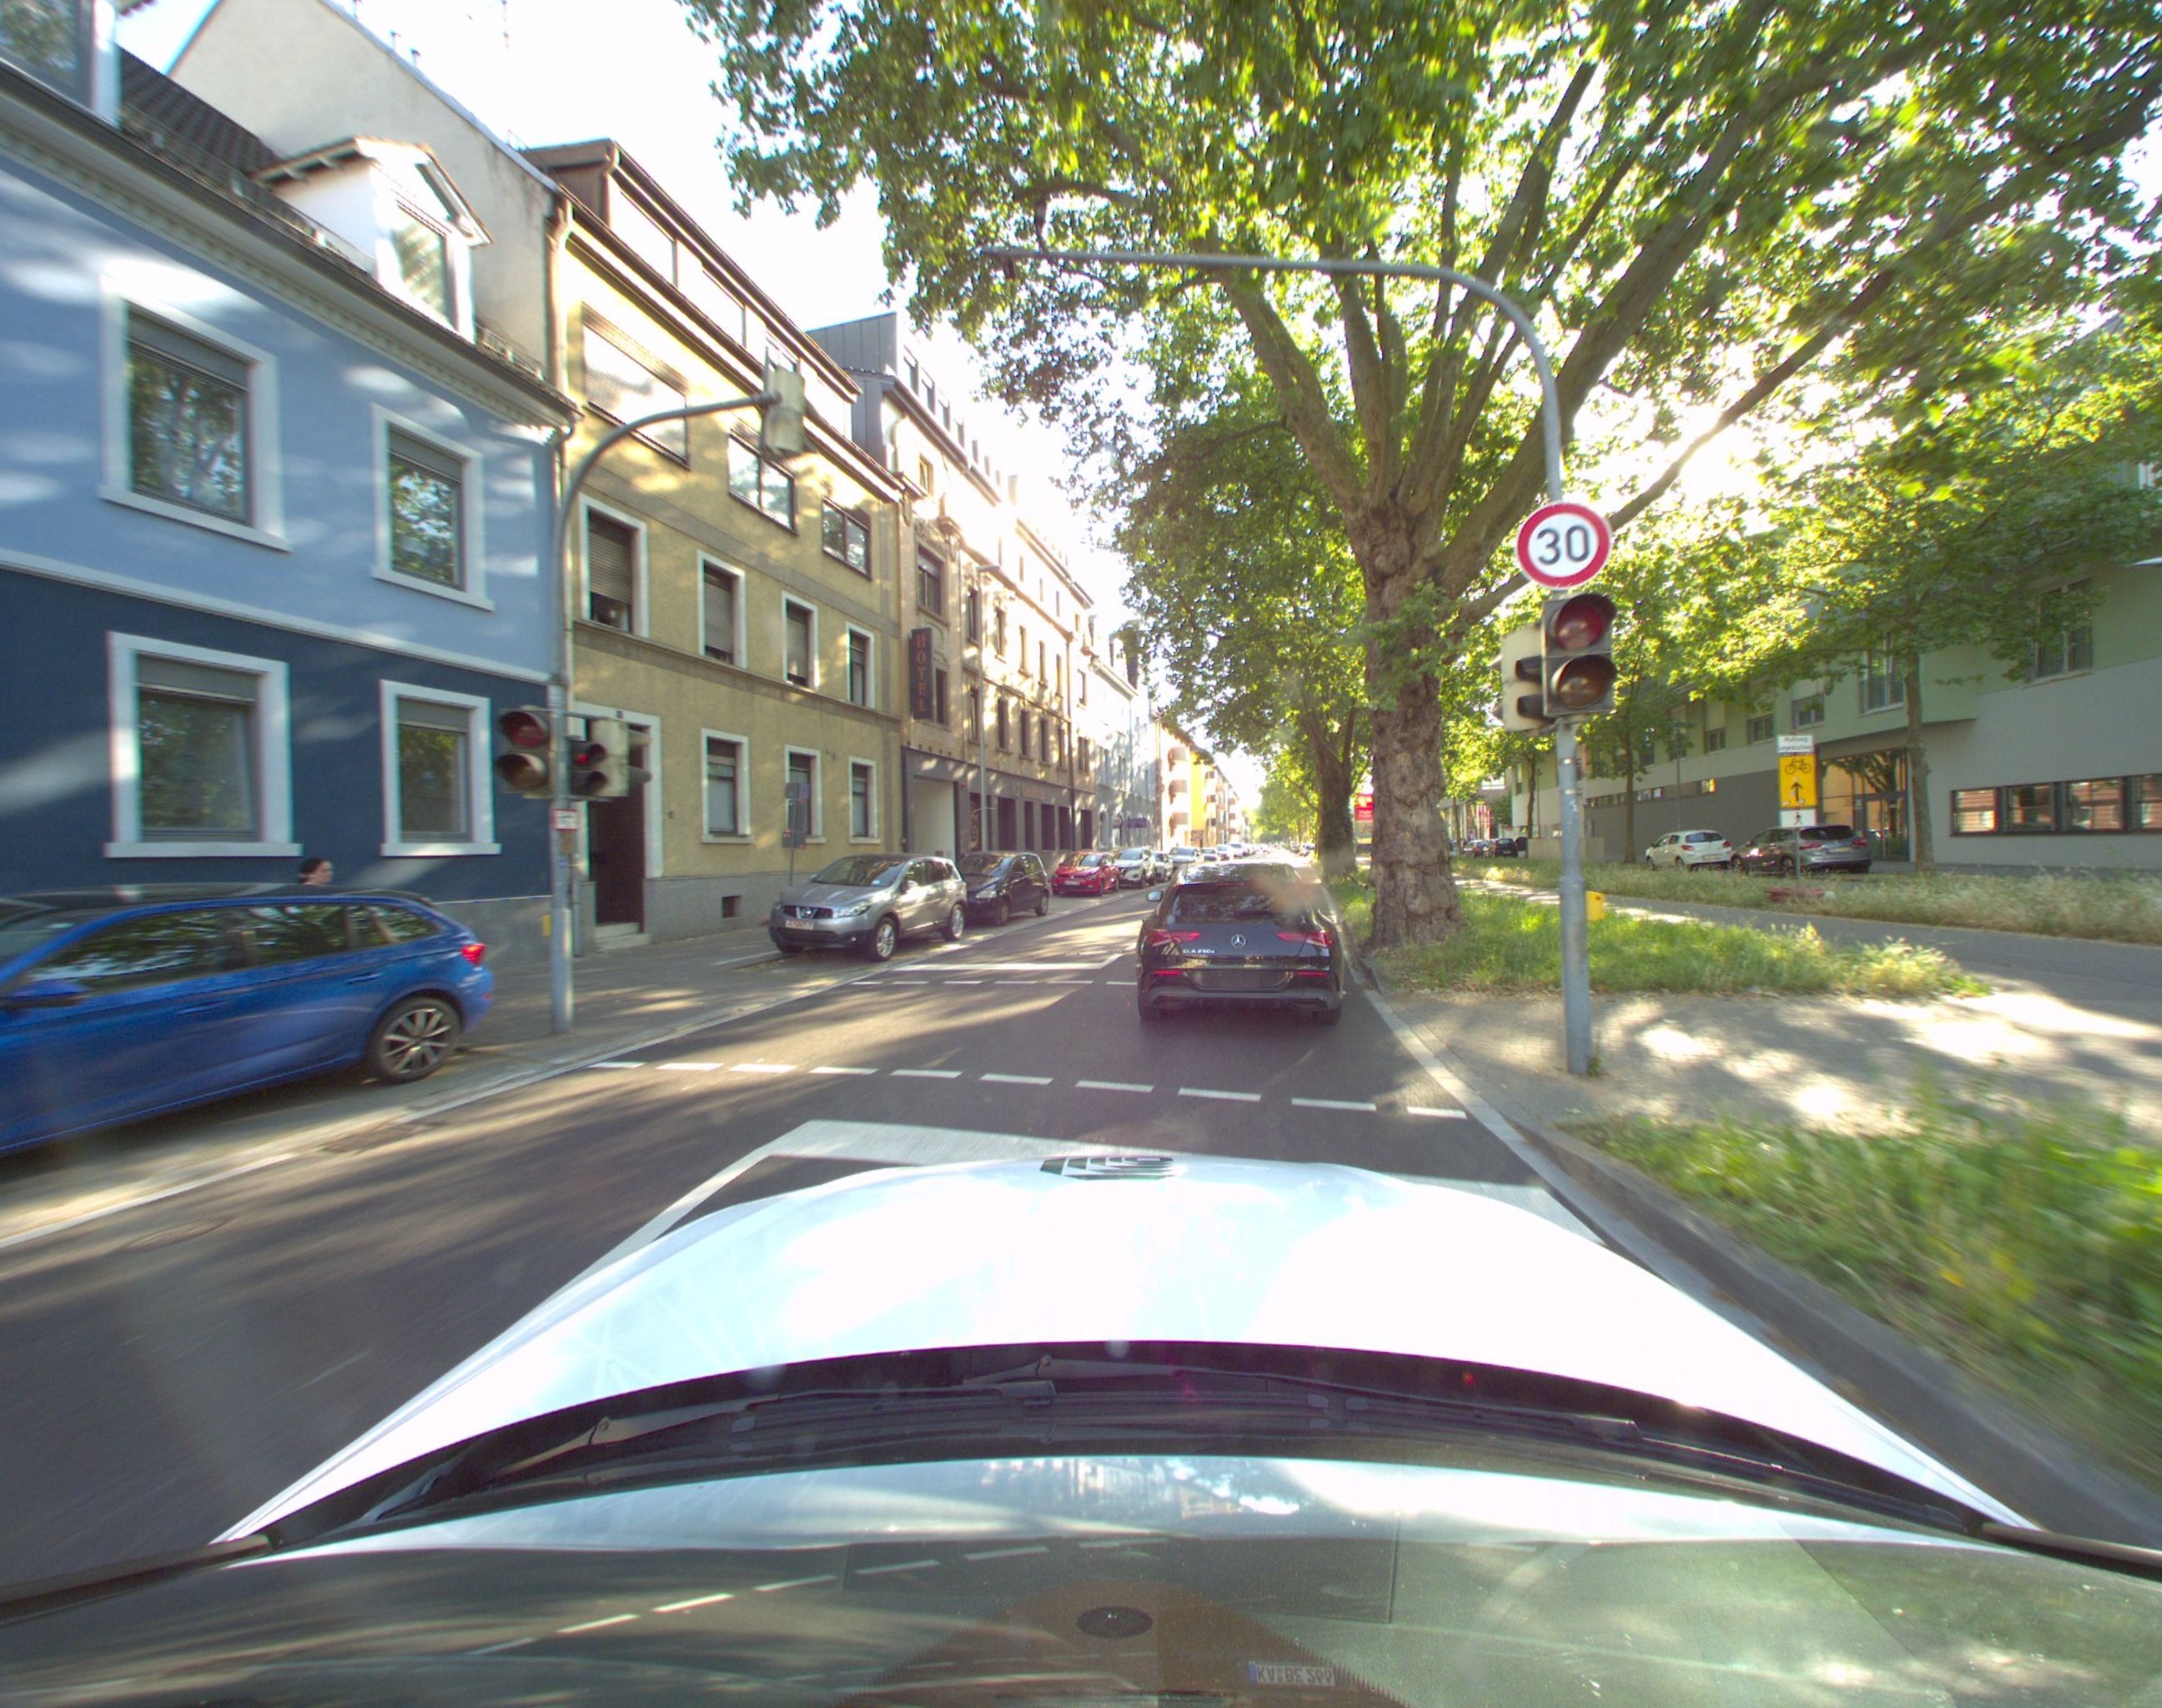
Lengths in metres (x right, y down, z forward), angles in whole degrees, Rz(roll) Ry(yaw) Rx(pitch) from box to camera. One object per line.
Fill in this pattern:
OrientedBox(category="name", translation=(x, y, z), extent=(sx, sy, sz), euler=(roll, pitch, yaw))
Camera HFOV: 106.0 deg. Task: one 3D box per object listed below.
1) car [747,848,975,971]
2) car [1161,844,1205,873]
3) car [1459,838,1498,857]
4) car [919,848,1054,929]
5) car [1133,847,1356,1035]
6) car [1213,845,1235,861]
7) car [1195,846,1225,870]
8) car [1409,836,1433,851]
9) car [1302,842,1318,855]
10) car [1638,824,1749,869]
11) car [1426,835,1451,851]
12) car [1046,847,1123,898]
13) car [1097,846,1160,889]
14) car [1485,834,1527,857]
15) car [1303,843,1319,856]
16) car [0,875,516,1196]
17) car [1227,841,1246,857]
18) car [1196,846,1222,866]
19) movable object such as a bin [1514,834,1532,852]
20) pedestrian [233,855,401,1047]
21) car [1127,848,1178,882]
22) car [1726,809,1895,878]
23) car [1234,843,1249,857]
OrientedBox(category="car", translation=(-3.427, 0.759, 13.608), extent=(1.768, 1.672, 4.173), euler=(0, 1, 16))
OrientedBox(category="car", translation=(6.170, 0.253, 48.841), extent=(1.893, 1.641, 4.596), euler=(0, 1, 16))
OrientedBox(category="car", translation=(31.703, -0.541, 65.103), extent=(1.846, 1.468, 4.138), euler=(-2, 0, 13))
OrientedBox(category="car", translation=(-2.027, 0.679, 18.517), extent=(1.664, 1.605, 3.722), euler=(0, 1, 18))
OrientedBox(category="car", translation=(1.416, 0.666, 8.387), extent=(1.736, 1.443, 3.973), euler=(0, 1, 4))
OrientedBox(category="car", translation=(13.543, -0.109, 77.153), extent=(1.665, 1.523, 4.038), euler=(0, 1, 16))
OrientedBox(category="car", translation=(9.091, 0.237, 57.065), extent=(1.665, 1.641, 4.001), euler=(0, 1, 15))
OrientedBox(category="car", translation=(40.949, -1.262, 98.272), extent=(1.863, 1.733, 4.194), euler=(-2, 0, 12))
OrientedBox(category="car", translation=(29.607, -0.668, 105.354), extent=(1.797, 1.539, 4.601), euler=(-4, -1, 15))
OrientedBox(category="car", translation=(23.161, -0.301, 31.019), extent=(1.845, 1.542, 4.337), euler=(-2, 0, 15))
OrientedBox(category="car", translation=(42.813, -1.309, 97.598), extent=(1.972, 1.733, 4.195), euler=(-2, 0, 13))
OrientedBox(category="car", translation=(0.193, 0.577, 27.723), extent=(1.665, 1.592, 3.772), euler=(0, 1, 16))
OrientedBox(category="car", translation=(1.960, 0.479, 32.416), extent=(1.665, 1.584, 4.218), euler=(0, 1, 16))
OrientedBox(category="car", translation=(30.511, -0.602, 58.570), extent=(1.845, 1.552, 3.774), euler=(-2, 0, 15))
OrientedBox(category="car", translation=(27.889, -0.543, 98.715), extent=(1.624, 1.468, 4.035), euler=(-3, -1, 13))
OrientedBox(category="car", translation=(-6.064, 0.962, 4.963), extent=(1.638, 1.486, 4.279), euler=(0, 1, 14))
OrientedBox(category="car", translation=(18.494, -0.607, 96.763), extent=(1.721, 1.906, 5.231), euler=(0, 1, 16))
OrientedBox(category="car", translation=(10.129, 0.110, 64.321), extent=(1.665, 1.486, 3.616), euler=(0, 1, 16))
OrientedBox(category="movable object such as a bin", translation=(37.681, -0.919, 69.443), extent=(1.182, 1.463, 1.415), euler=(-2, 0, 26))
OrientedBox(category="pedestrian", translation=(-6.797, 0.808, 7.269), extent=(0.697, 1.570, 0.871), euler=(-2, 0, 28))
OrientedBox(category="car", translation=(3.439, 0.484, 38.604), extent=(1.665, 1.496, 3.888), euler=(0, 1, 16))
OrientedBox(category="car", translation=(21.053, -0.307, 23.776), extent=(1.891, 1.771, 4.337), euler=(-2, 0, 15))
OrientedBox(category="car", translation=(21.678, -0.556, 109.917), extent=(1.733, 1.787, 4.565), euler=(0, 1, 13))
